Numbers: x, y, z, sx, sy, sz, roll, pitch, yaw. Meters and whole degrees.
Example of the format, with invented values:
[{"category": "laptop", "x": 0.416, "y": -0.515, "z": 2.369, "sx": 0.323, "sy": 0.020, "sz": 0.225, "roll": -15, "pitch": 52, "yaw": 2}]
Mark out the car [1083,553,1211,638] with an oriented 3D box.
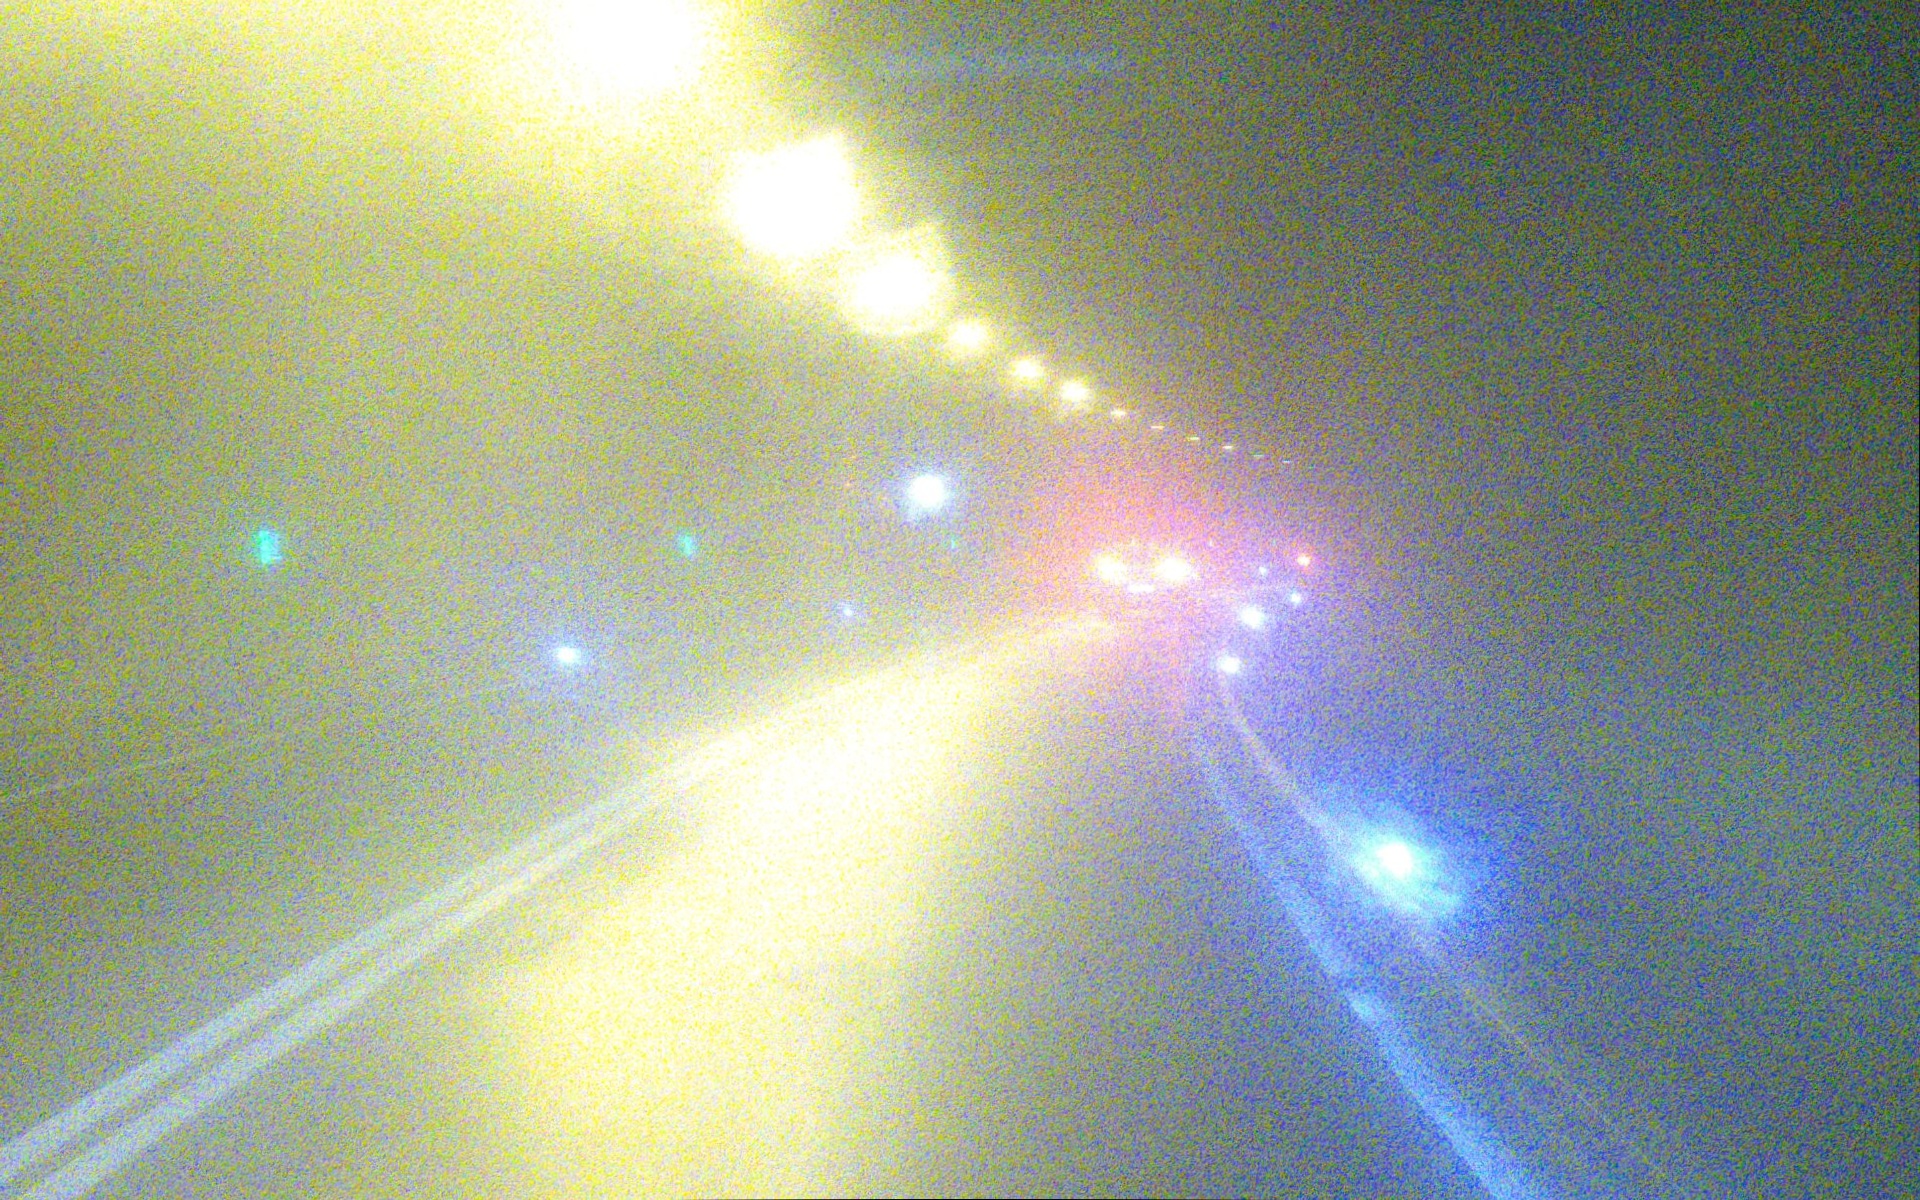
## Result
[{"category": "car", "x": 3.911, "y": -0.096, "z": 71.353, "sx": 2.090, "sy": 1.656, "sz": 3.998, "roll": 2, "pitch": 0, "yaw": 11}]
